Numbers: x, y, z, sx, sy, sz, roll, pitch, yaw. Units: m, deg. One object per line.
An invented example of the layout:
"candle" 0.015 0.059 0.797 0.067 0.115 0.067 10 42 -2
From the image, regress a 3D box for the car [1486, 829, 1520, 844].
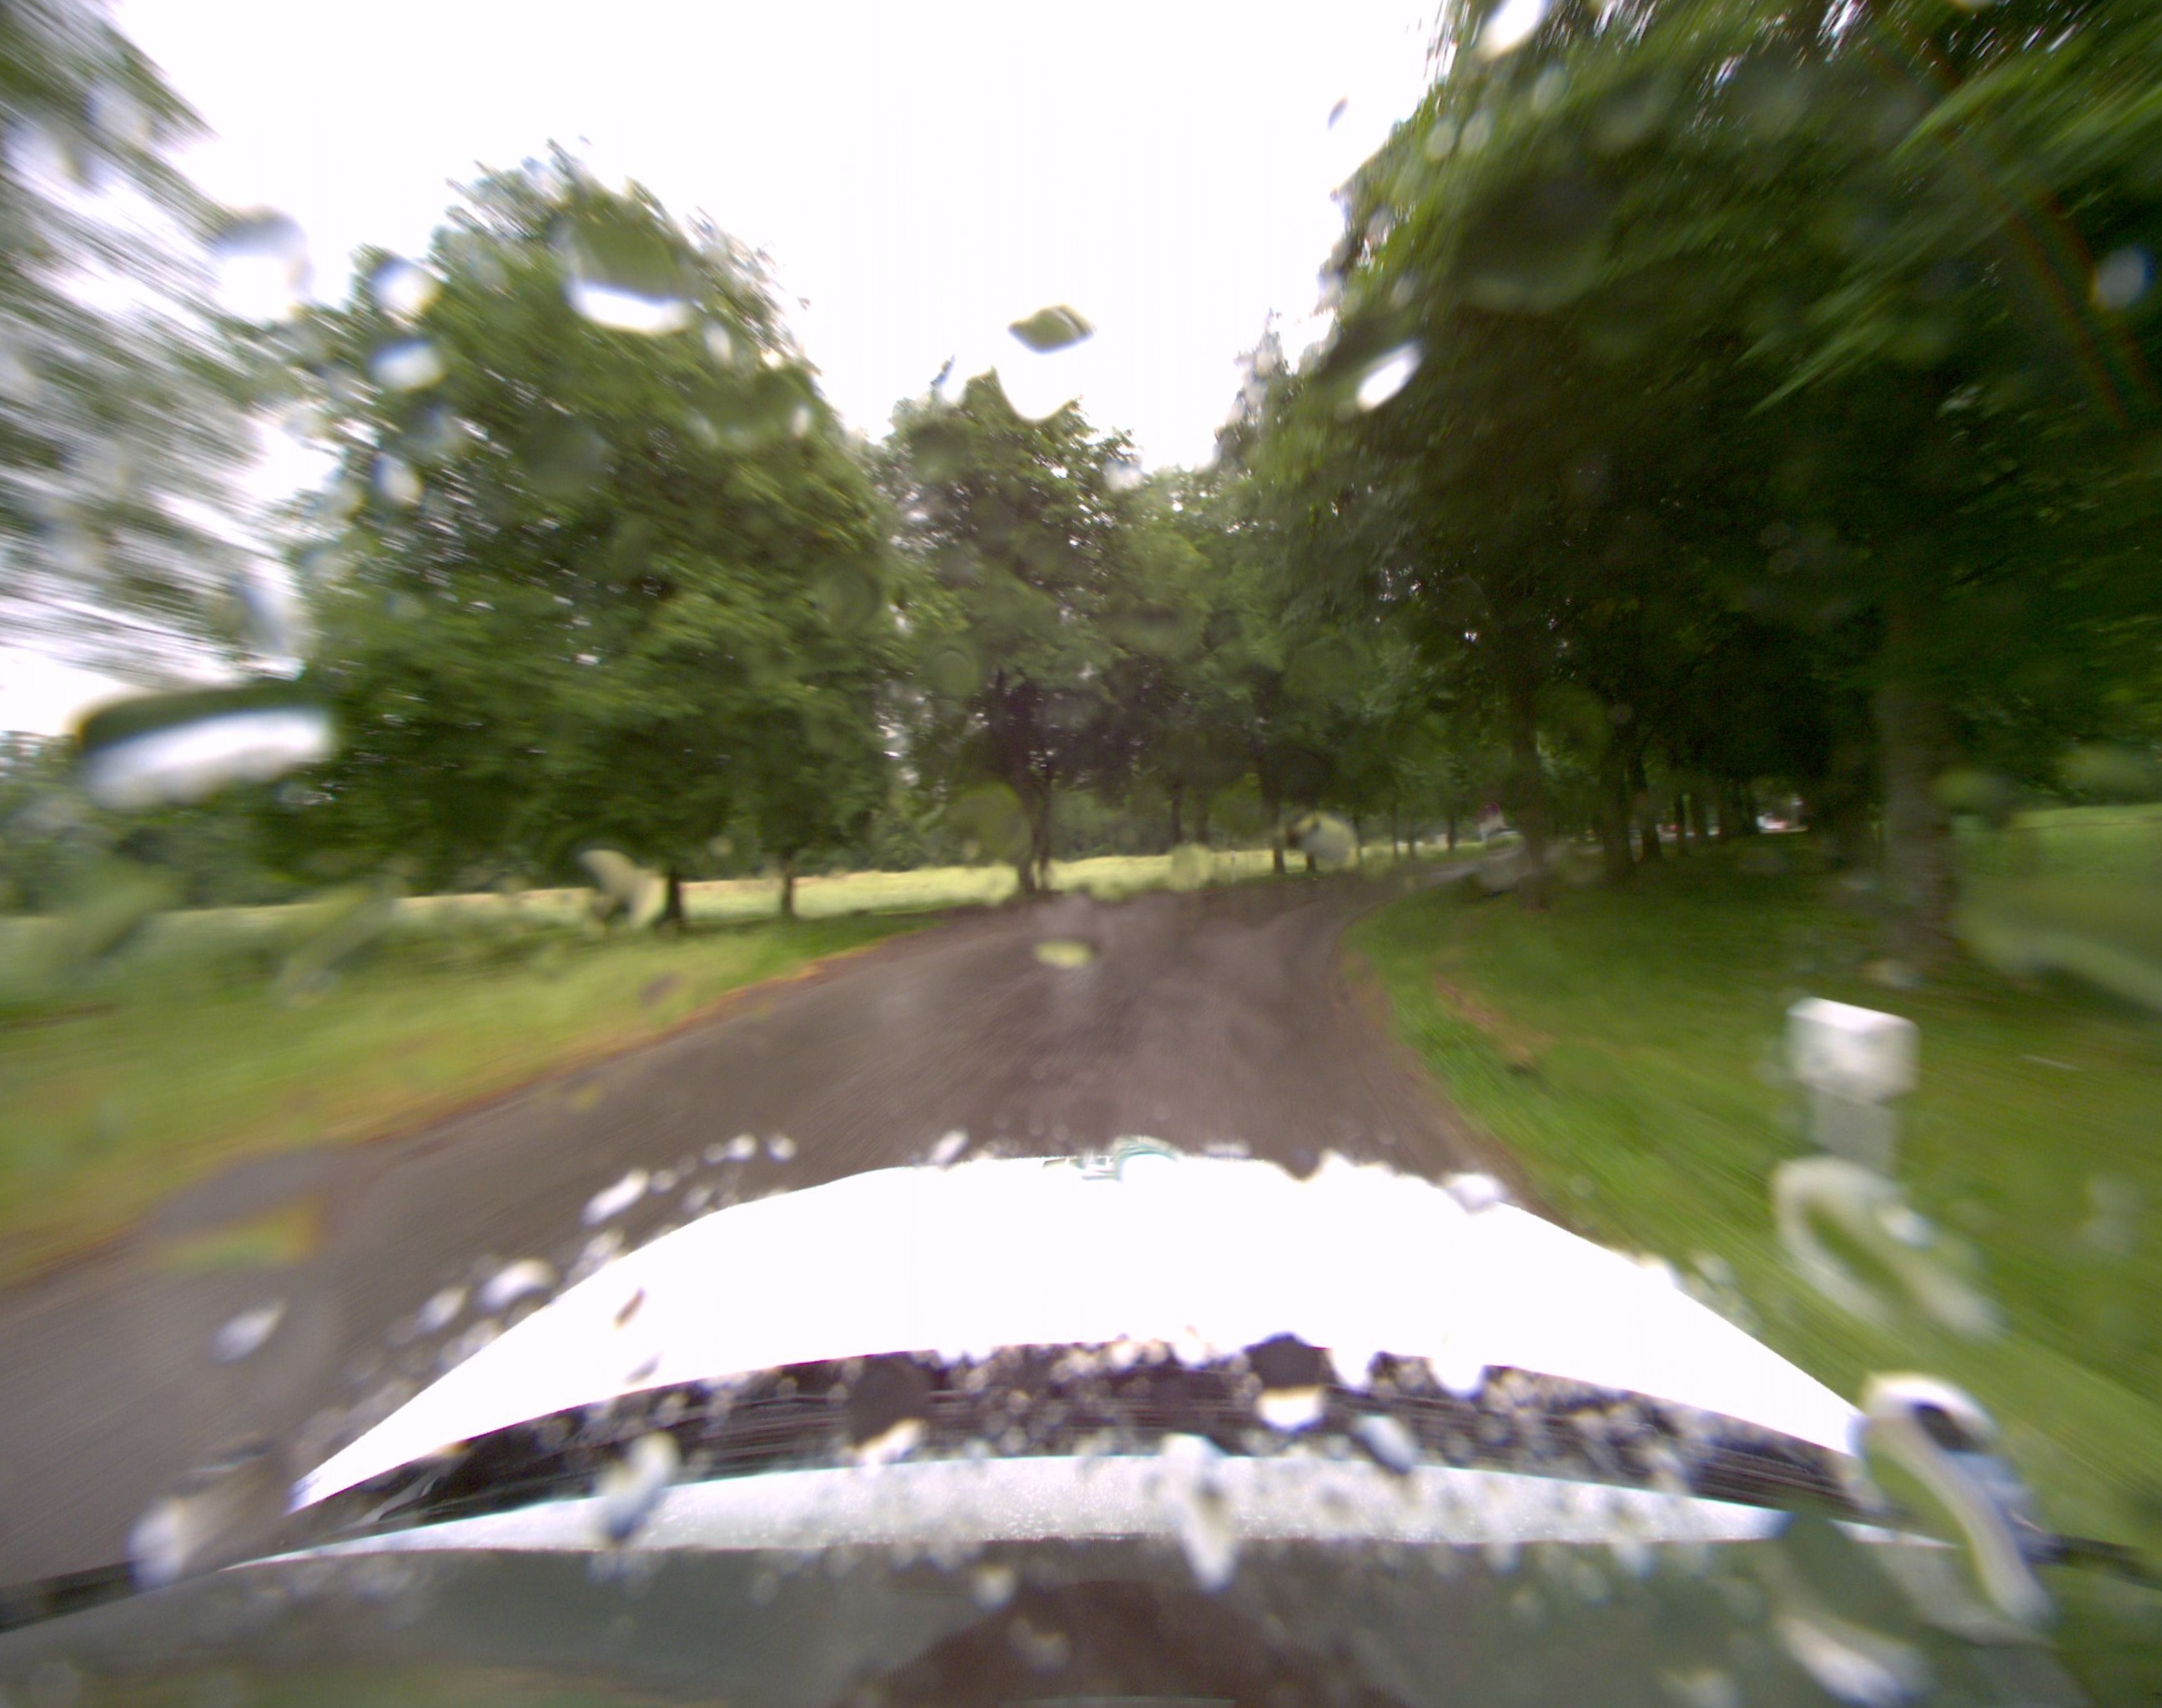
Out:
"car" 74.519 -3.098 143.844 2.381 2.408 5.972 -1 -1 -5

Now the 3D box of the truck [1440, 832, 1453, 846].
"truck" 65.477 -2.626 145.886 1.851 2.443 3.370 -3 -1 29
